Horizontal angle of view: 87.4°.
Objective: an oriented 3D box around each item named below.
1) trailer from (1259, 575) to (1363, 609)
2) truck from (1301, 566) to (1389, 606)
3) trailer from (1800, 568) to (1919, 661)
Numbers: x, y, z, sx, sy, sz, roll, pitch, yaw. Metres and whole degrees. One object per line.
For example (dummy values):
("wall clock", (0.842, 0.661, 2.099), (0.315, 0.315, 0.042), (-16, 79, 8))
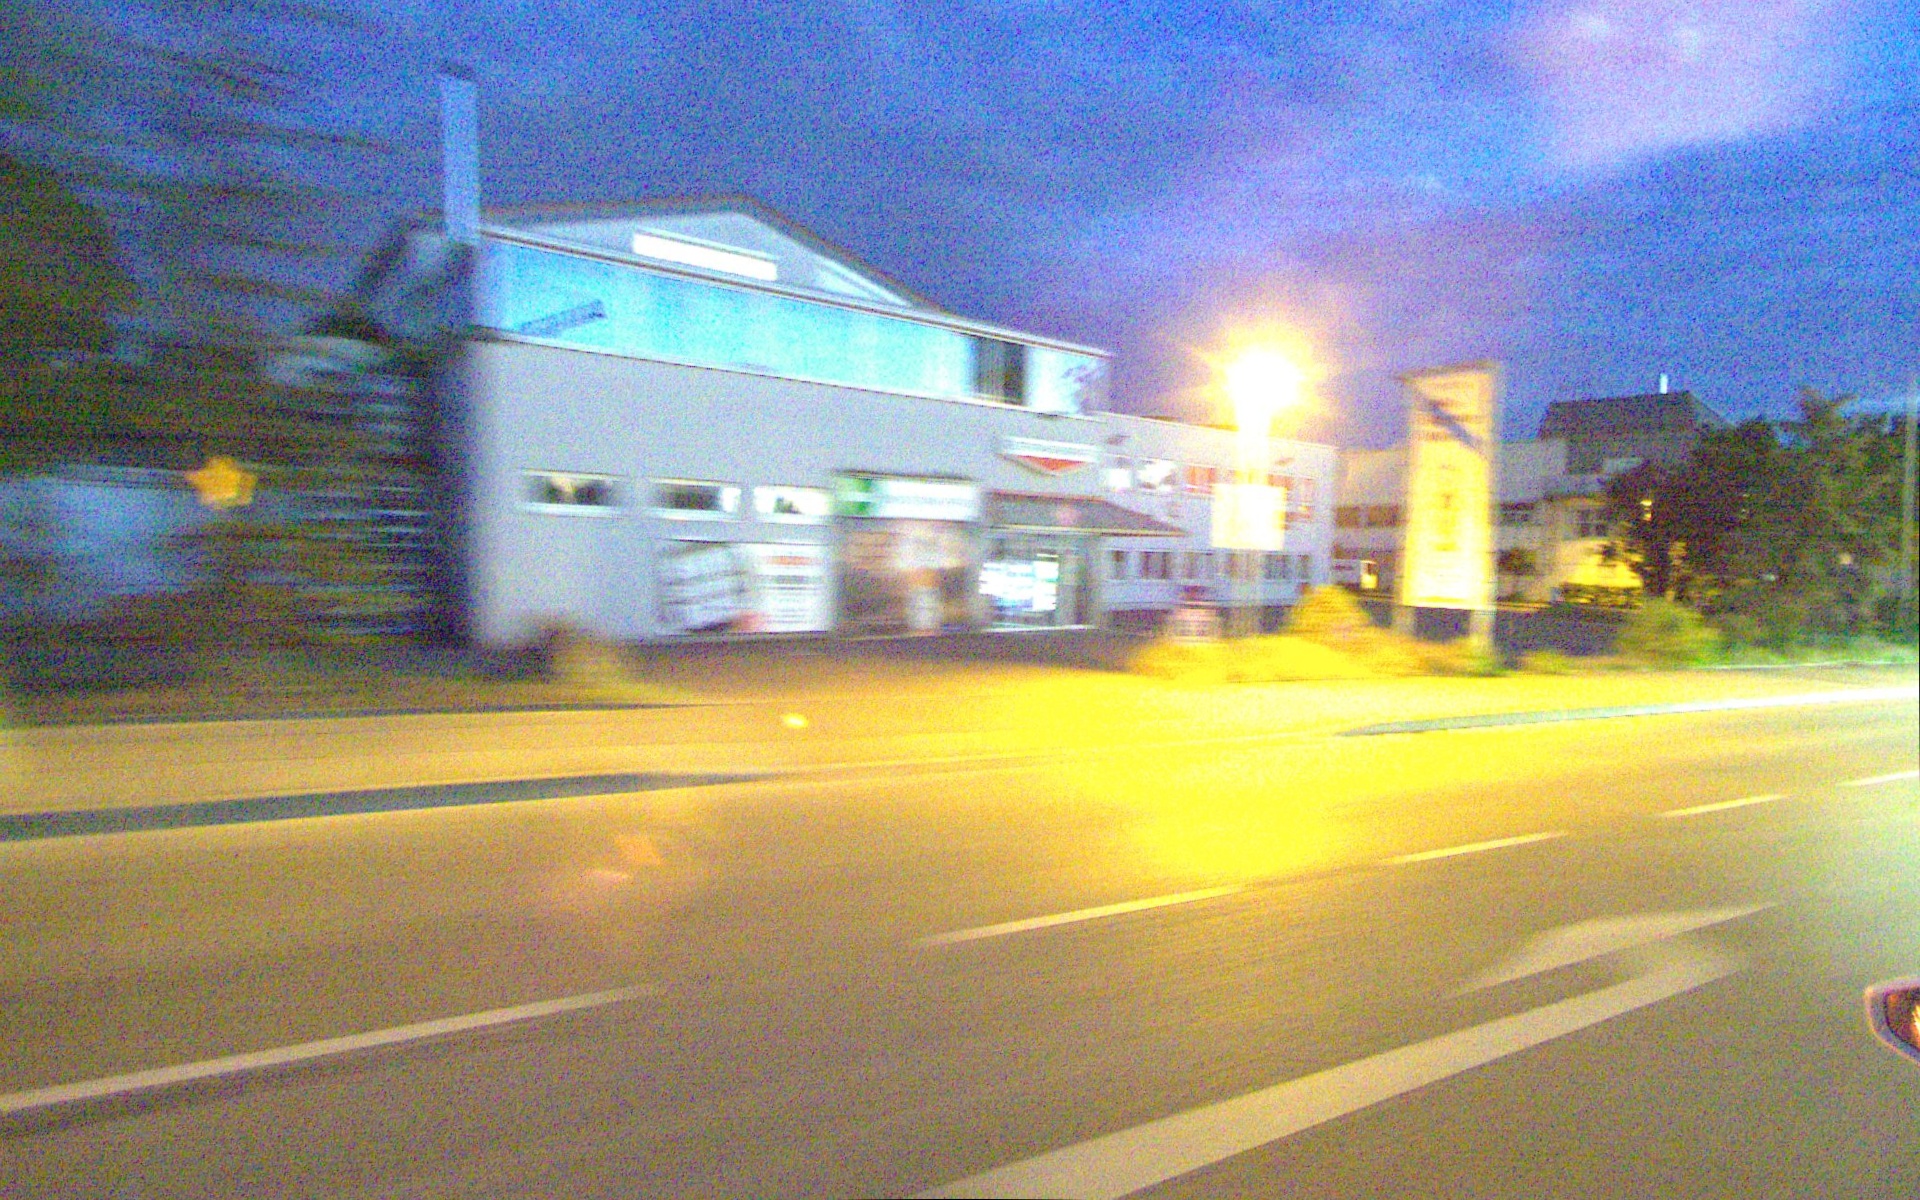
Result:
("trailer", (19.259, -0.466, 55.371), (1.862, 1.644, 5.184), (0, 3, -37))
("truck", (25.862, -0.956, 67.597), (4.973, 2.422, 2.150), (4, 3, 44))
("trailer", (28.958, 0.423, 30.942), (1.976, 2.756, 4.328), (0, 1, -30))
